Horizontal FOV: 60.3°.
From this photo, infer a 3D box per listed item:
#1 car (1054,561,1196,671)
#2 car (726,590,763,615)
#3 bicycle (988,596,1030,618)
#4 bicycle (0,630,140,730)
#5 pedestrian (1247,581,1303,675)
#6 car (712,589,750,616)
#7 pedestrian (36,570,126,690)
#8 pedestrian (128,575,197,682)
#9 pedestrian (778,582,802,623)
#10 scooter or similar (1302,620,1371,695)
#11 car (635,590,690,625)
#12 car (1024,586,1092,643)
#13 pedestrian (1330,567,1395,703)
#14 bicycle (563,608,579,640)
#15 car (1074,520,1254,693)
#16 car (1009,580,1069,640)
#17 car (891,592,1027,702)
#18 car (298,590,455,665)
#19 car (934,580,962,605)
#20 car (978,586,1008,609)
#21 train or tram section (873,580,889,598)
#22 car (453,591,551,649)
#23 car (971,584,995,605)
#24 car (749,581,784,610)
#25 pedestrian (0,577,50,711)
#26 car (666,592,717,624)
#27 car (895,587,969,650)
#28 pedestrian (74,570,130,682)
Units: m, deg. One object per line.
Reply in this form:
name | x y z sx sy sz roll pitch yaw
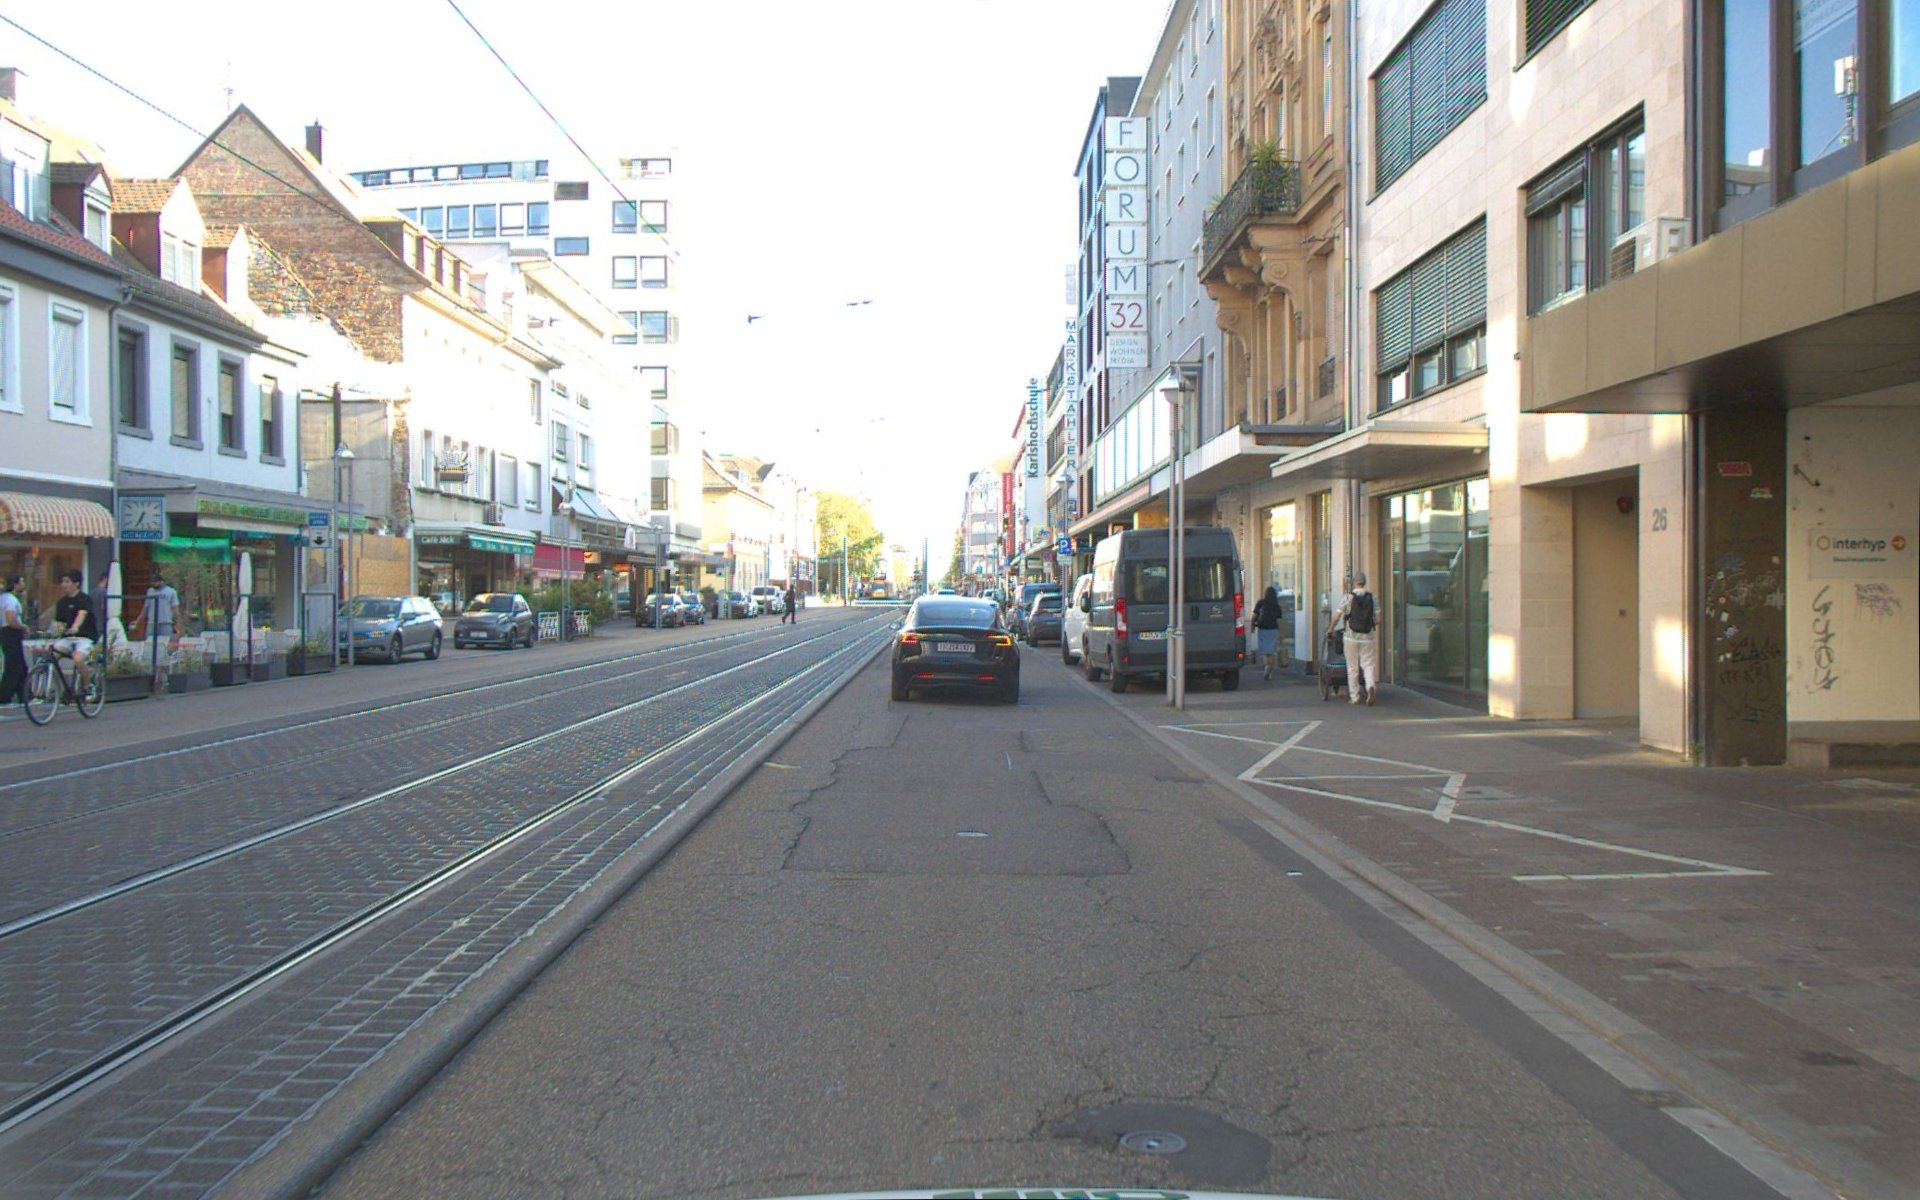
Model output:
car | 3.289 0.279 33.930 2.116 1.960 4.614 -3 1 -3
car | -13.631 0.147 104.944 1.733 1.535 3.972 0 0 1
bicycle | 2.545 0.347 85.971 2.116 1.116 0.686 -1 0 -3
bicycle | -11.009 0.968 20.539 0.566 1.135 1.954 0 0 4
pedestrian | 5.426 0.466 28.493 0.753 1.570 0.804 -2 0 -1
car | -13.694 0.141 99.115 1.682 1.599 3.850 0 0 1
pedestrian | -11.000 0.369 20.724 0.611 1.469 0.874 0 -1 4
pedestrian | -13.719 0.485 28.460 0.868 1.806 0.688 0 0 -2
pedestrian | -7.783 0.114 75.700 0.757 1.881 0.826 0 0 30
scooter or similar | 5.191 0.782 22.865 0.581 0.952 1.298 -2 0 -2
car | -13.574 0.338 75.629 1.733 1.535 3.864 0 0 1
car | 2.792 0.390 47.763 1.715 1.525 3.753 -1 1 0
pedestrian | 5.337 0.450 21.972 0.545 1.744 0.954 -2 0 -2
bicycle | -12.797 0.769 54.415 0.363 1.019 1.596 0 0 -18
car | 3.234 0.062 27.398 2.127 2.504 5.360 -2 1 -1
car | 2.545 0.293 53.897 1.784 1.903 3.753 0 1 0
car | -0.019 0.622 24.492 1.831 1.452 4.364 0 1 0
car | -13.194 0.618 37.722 1.953 1.558 4.755 1 -1 -1
car | -0.907 -0.573 123.881 2.042 1.903 3.753 0 1 0
car | 2.257 -0.185 114.787 1.953 1.570 3.999 0 0 -1
train or tram section | -12.384 -1.753 259.625 1.952 2.680 6.803 0 1 3
car | -13.106 0.540 47.510 1.641 1.573 3.744 2 0 1
car | 1.977 -0.426 143.281 1.953 1.784 3.999 0 0 -1
car | -13.832 -0.317 118.321 1.968 1.995 4.724 0 0 -1
pedestrian | -12.917 0.589 22.736 0.609 1.806 0.708 0 0 -39
car | -13.239 0.366 81.767 1.733 1.535 3.862 0 0 3
car | -0.707 0.446 40.538 1.726 1.443 4.353 0 0 -2
pedestrian | -14.357 0.424 27.683 0.643 1.855 0.642 0 0 -6
